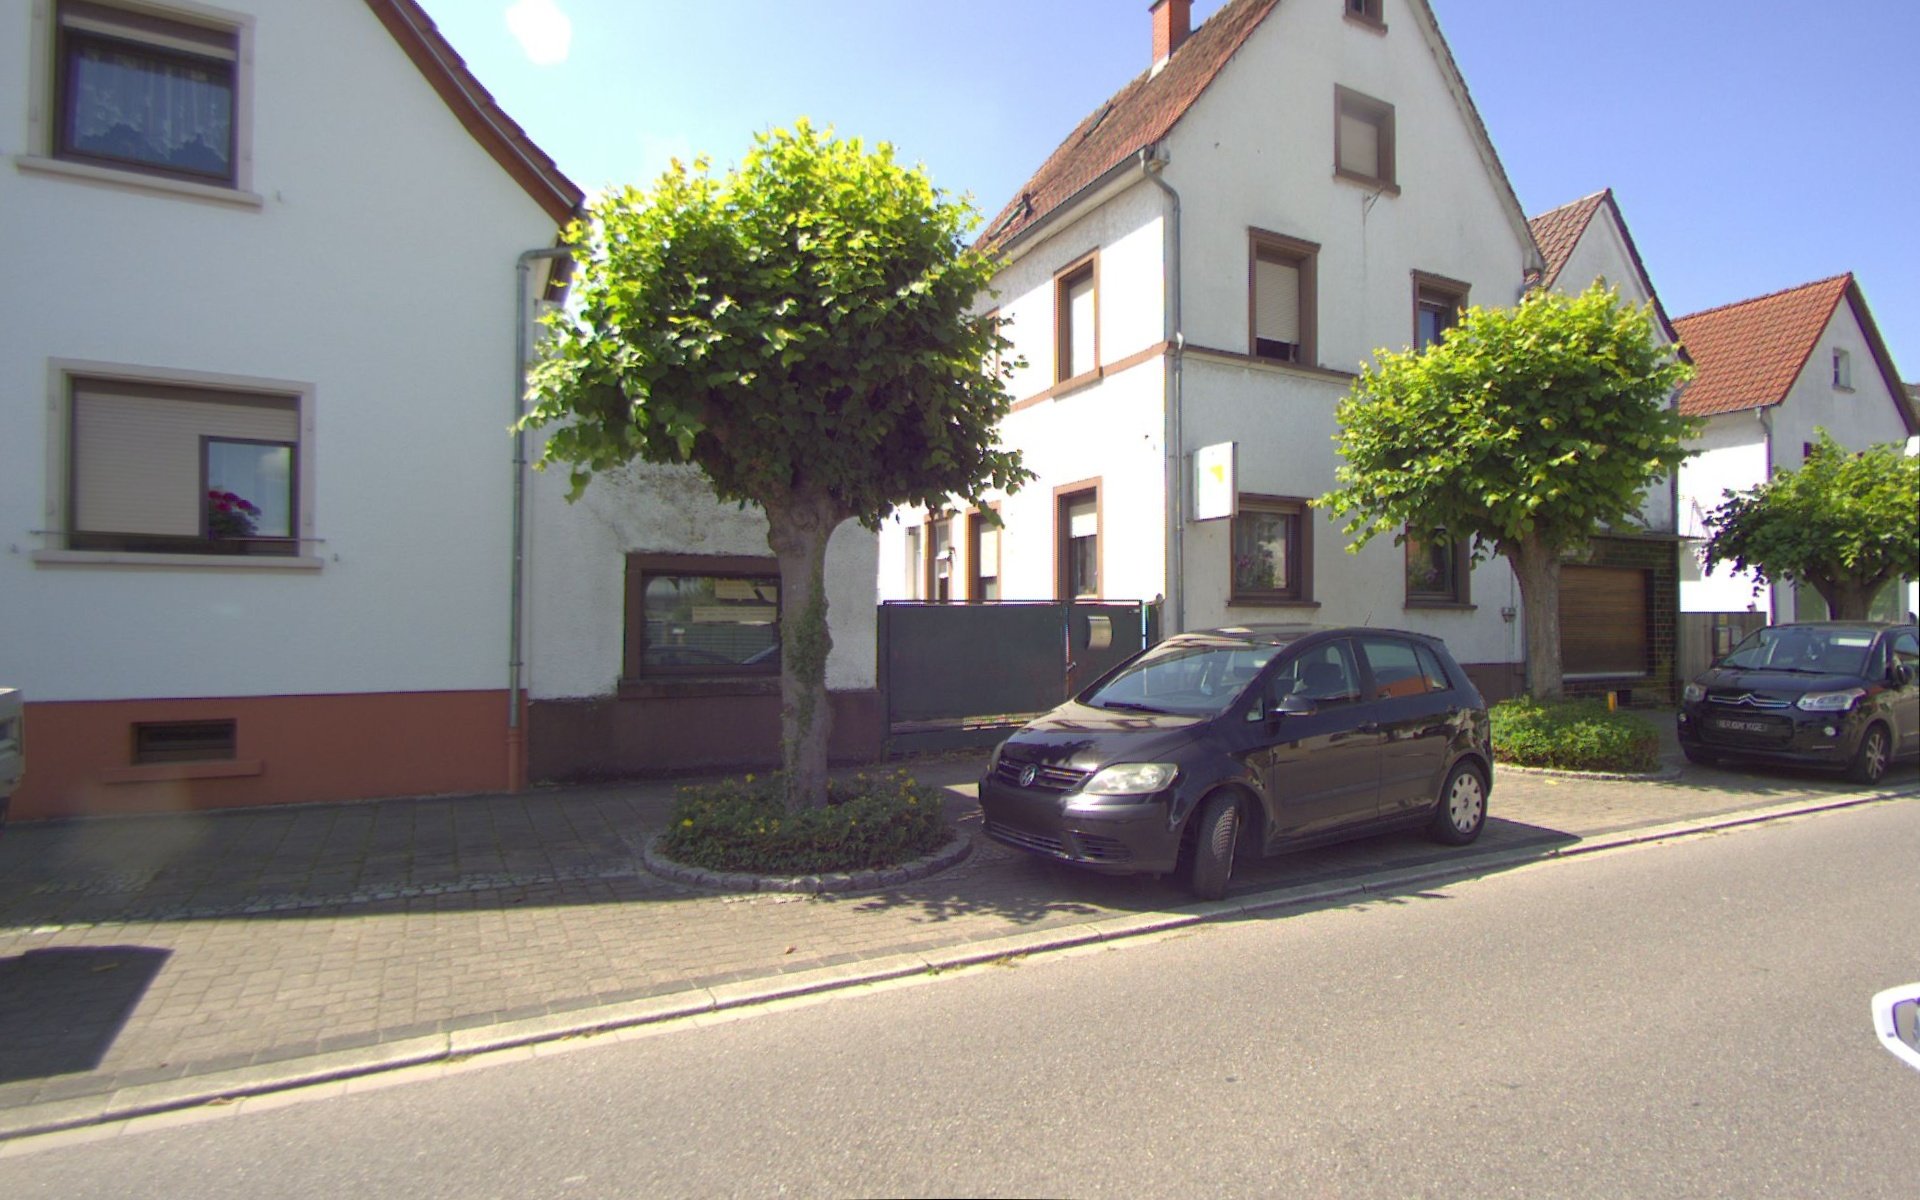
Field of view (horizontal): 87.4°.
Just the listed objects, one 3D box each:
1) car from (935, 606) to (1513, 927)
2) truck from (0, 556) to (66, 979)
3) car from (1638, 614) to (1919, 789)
[{"bbox_3d":[1.963,0.903,7.054,3.959,1.655,1.775,1,-1,-34],"label":"car"},{"bbox_3d":[-5.854,0.669,3.239,4.140,1.789,1.569,1,0,-29],"label":"truck"},{"bbox_3d":[9.846,1.040,11.489,4.007,1.657,1.845,1,0,-29],"label":"car"}]
